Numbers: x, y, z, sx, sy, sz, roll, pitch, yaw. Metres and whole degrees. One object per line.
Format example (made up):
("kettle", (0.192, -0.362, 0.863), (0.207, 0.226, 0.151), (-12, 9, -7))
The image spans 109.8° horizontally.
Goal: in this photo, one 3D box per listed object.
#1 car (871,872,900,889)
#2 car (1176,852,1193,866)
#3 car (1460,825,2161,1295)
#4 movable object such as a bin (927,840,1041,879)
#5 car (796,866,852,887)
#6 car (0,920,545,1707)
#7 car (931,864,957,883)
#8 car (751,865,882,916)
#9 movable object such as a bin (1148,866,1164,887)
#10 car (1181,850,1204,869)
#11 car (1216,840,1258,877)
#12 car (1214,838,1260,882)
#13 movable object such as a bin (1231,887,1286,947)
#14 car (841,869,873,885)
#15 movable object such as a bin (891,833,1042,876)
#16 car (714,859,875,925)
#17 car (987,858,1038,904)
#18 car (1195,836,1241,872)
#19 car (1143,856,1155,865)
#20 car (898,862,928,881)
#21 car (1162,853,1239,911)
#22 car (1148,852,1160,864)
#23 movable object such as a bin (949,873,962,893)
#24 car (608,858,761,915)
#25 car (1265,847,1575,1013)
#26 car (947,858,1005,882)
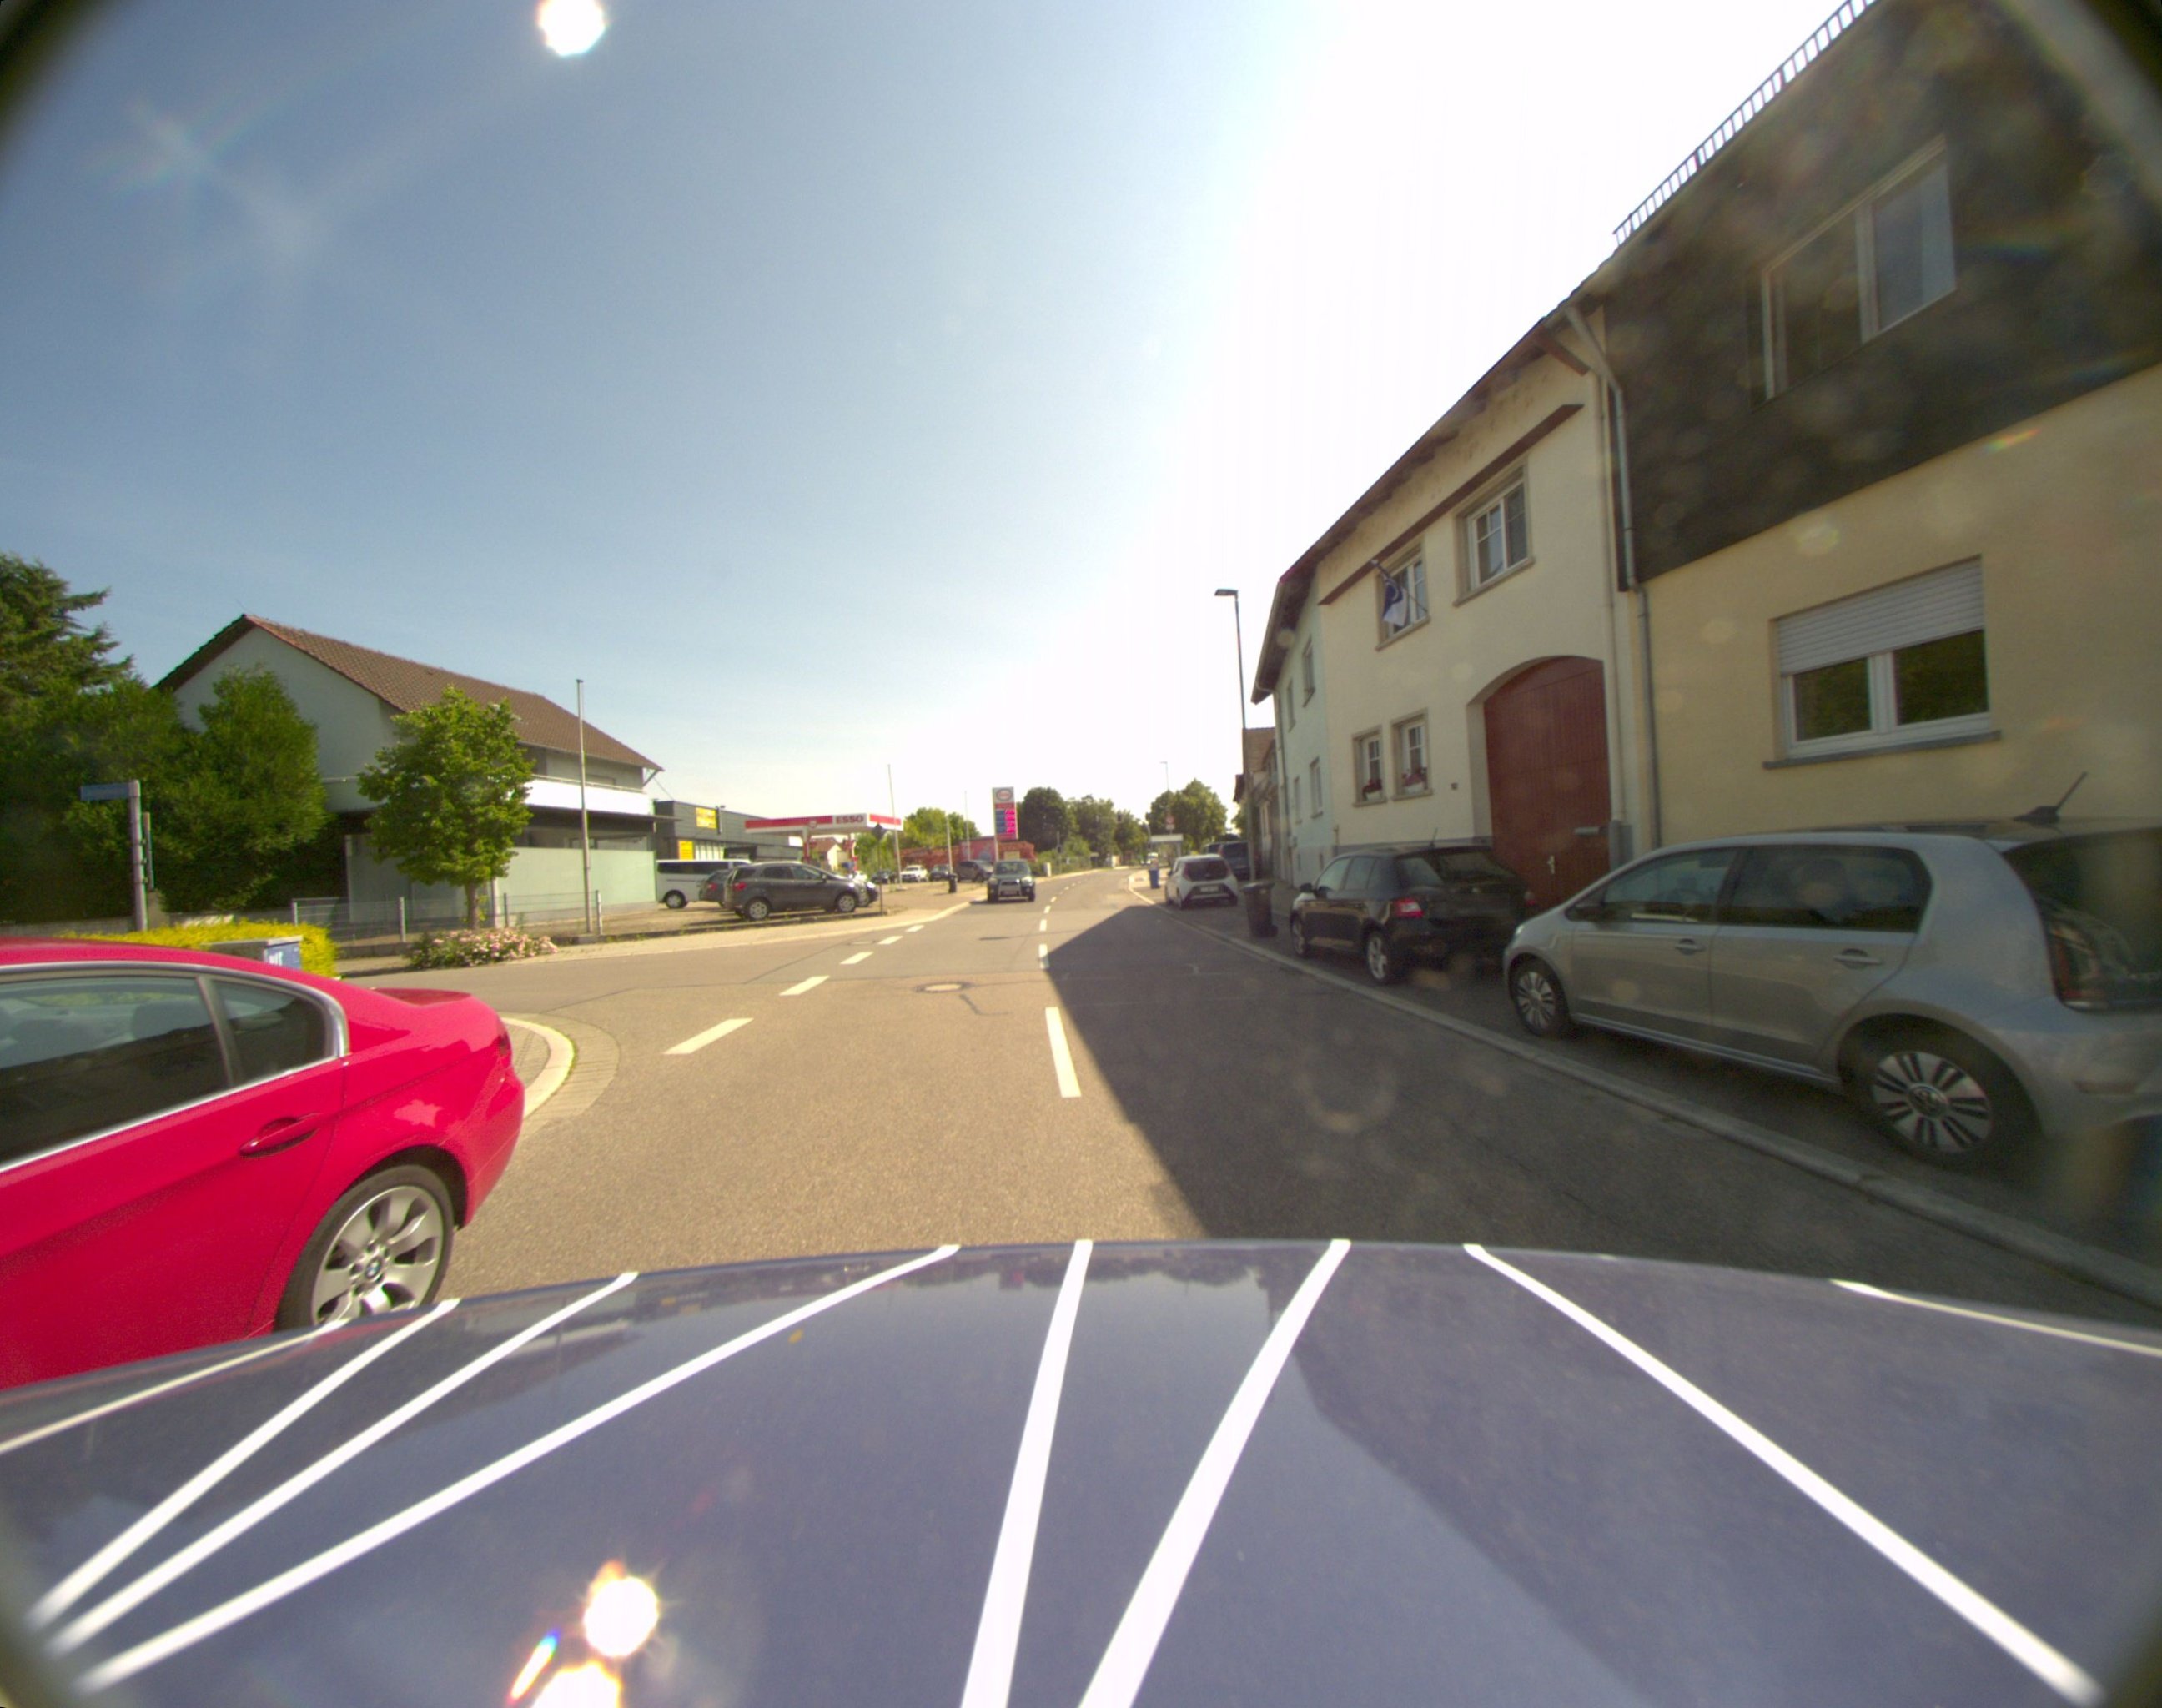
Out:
("car", (-18.889, 2.565, 73.505), (1.846, 1.378, 3.999), (-3, 0, -2))
("car", (11.306, 0.534, 82.985), (1.718, 1.399, 4.400), (-2, 1, 8))
("car", (4.173, 0.681, 4.516), (1.645, 1.492, 3.780), (-5, 0, -4))
("movable object such as a bin", (-11.668, 0.652, 92.341), (13.283, 4.141, 2.864), (-3, 0, 4))
("car", (-22.491, 1.987, 66.573), (4.151, 1.624, 1.811), (-3, 0, 0))
("car", (-2.979, 1.025, 0.922), (1.737, 1.485, 4.353), (-1, 0, -4))
("car", (-13.320, 1.875, 73.909), (1.846, 1.583, 4.105), (-3, 0, -2))
("car", (-8.853, 1.169, 25.468), (3.879, 1.438, 1.747), (-2, 0, -29))
("movable object such as a bin", (3.448, 1.025, 35.060), (0.559, 0.931, 0.514), (-5, 1, -6))
("car", (9.609, 0.496, 65.649), (1.718, 1.444, 3.917), (-4, -1, 6))
("car", (8.377, 0.216, 41.215), (1.971, 1.764, 4.279), (-4, 0, 9))
("car", (7.445, 0.247, 36.074), (1.840, 1.782, 4.346), (-6, 0, 12))
("movable object such as a bin", (3.073, 1.071, 13.221), (0.553, 0.923, 0.825), (-7, 1, -10))
("car", (-21.772, 2.196, 74.032), (1.846, 1.378, 4.375), (-3, 0, -2))
("movable object such as a bin", (-12.500, 0.083, 83.842), (16.088, 3.995, 2.774), (-3, 0, 4))
("car", (-8.468, 1.054, 22.535), (4.120, 1.643, 1.827), (-2, 0, -33))
("car", (-2.686, 1.054, 30.473), (1.849, 1.686, 4.398), (0, -1, -3))
("car", (8.918, -0.018, 49.764), (2.131, 1.975, 5.266), (-8, 0, 4))
("car", (13.235, 1.271, 148.377), (1.844, 1.583, 4.109), (-3, 0, 11))
("car", (-16.234, 1.676, 73.802), (2.004, 1.583, 4.337), (-3, 0, -2))
("car", (3.425, 0.749, 22.360), (1.688, 1.453, 3.649), (-4, 0, 1))
("car", (15.460, 0.841, 160.655), (1.937, 2.488, 5.842), (-3, 0, 11))
("movable object such as a bin", (-6.110, 1.420, 37.117), (0.559, 0.931, 0.514), (-2, 0, -6))
("car", (-16.144, 1.271, 31.327), (5.291, 2.002, 2.228), (-2, 0, -22))
("car", (3.772, 0.727, 9.333), (1.683, 1.429, 3.994), (-6, 1, -4))
("car", (-7.429, 1.152, 53.604), (4.171, 1.546, 1.778), (-3, 0, 43))
